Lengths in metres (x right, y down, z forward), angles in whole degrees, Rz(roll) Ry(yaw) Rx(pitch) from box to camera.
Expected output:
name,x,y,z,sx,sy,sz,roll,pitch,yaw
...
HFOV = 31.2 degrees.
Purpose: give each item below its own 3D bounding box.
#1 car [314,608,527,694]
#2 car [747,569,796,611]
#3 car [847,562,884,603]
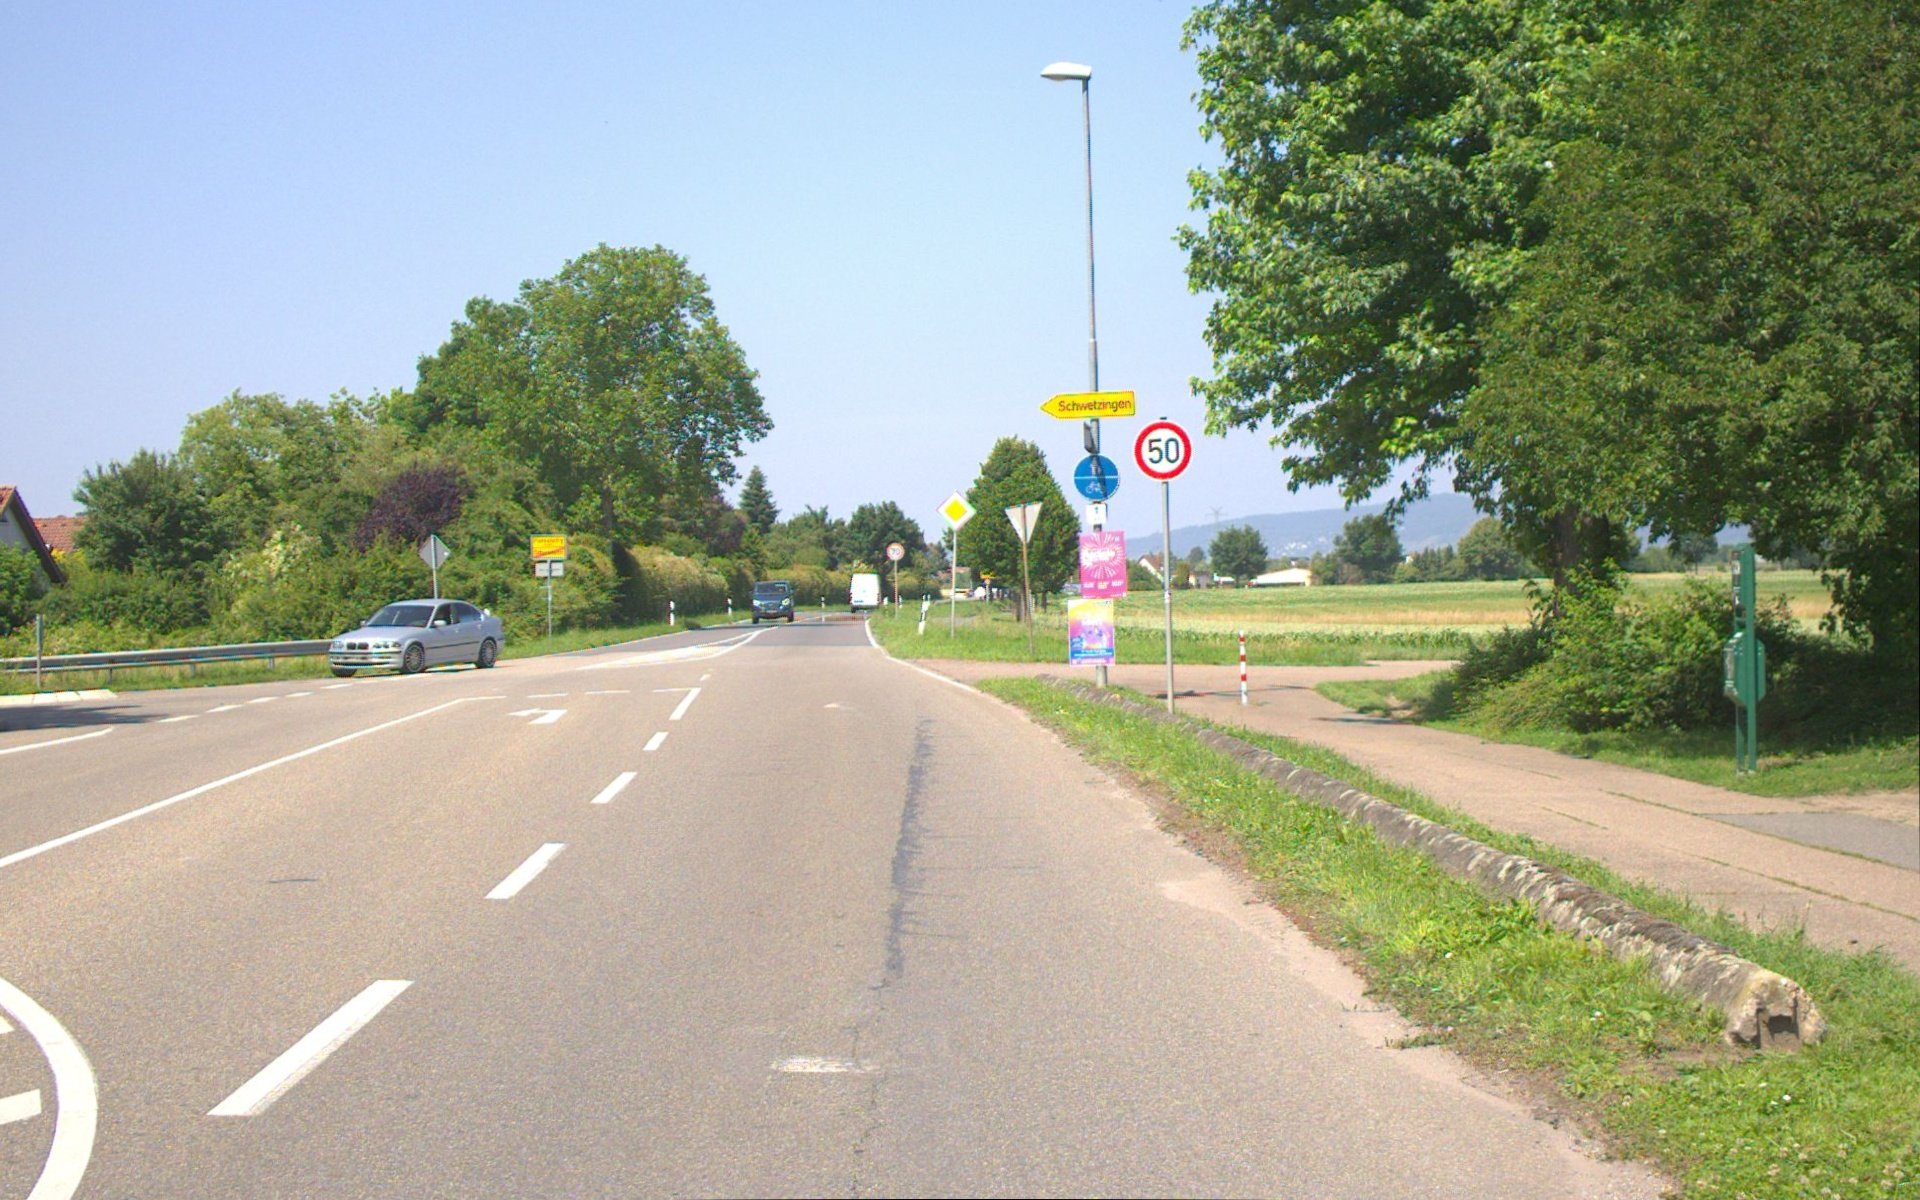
name,x,y,z,sx,sy,sz,roll,pitch,yaw
car,-10.411,0.963,66.697,1.639,1.466,4.409,-2,1,30
car,-9.291,-0.495,169.923,2.144,1.944,5.247,-2,1,-1
car,-6.364,-1.206,232.625,1.994,2.642,4.000,-2,1,4
